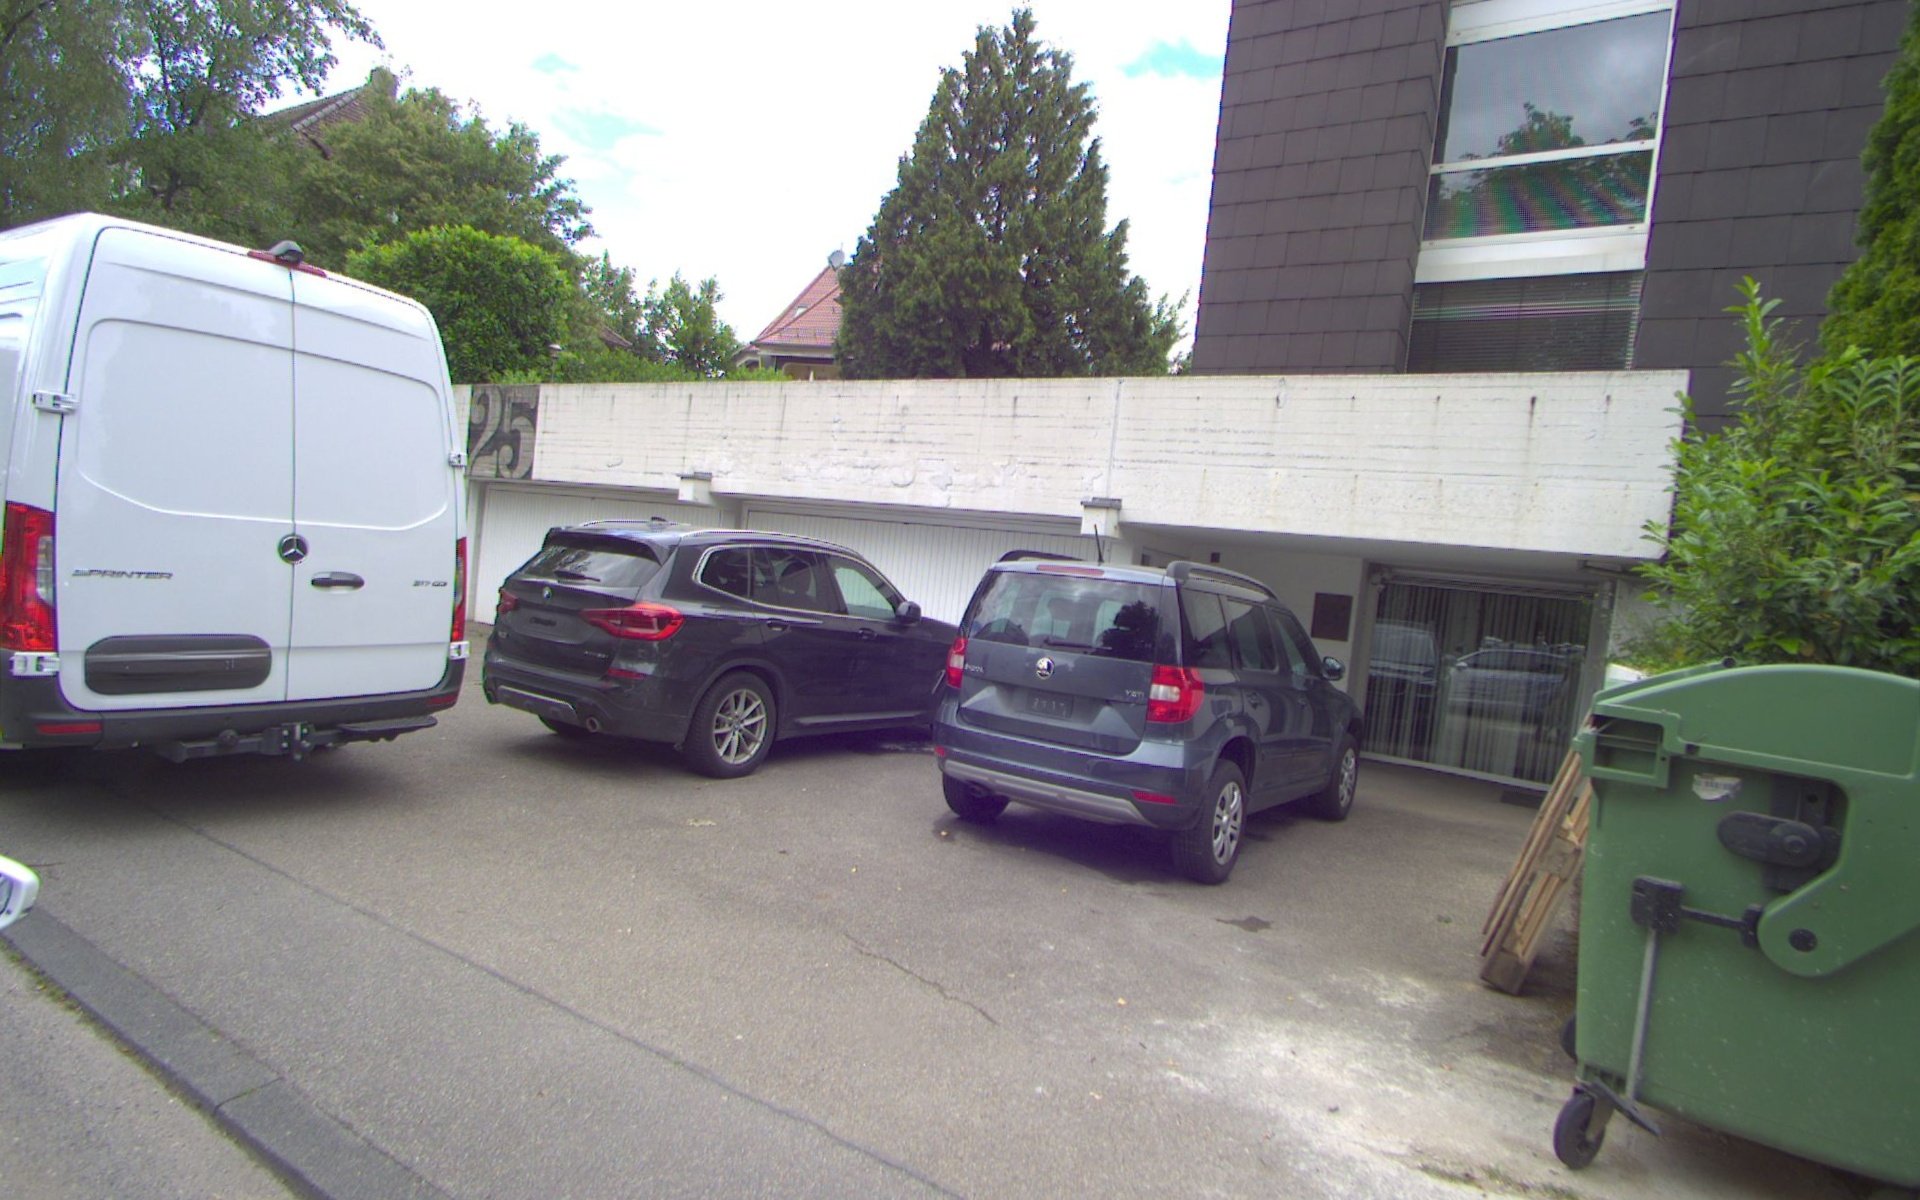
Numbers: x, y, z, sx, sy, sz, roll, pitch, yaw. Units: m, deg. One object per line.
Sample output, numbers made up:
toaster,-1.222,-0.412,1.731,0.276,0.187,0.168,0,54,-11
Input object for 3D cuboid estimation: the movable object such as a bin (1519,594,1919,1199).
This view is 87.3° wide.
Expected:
movable object such as a bin,2.273,0.833,2.814,1.016,1.550,1.034,7,1,33

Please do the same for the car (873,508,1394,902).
car,1.454,0.569,6.820,1.804,1.772,3.973,7,1,35

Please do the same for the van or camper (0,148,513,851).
van or camper,-5.786,-0.614,6.327,6.433,2.653,1.995,7,1,32

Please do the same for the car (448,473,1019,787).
car,-1.442,0.245,8.102,1.710,1.772,4.419,7,0,33
